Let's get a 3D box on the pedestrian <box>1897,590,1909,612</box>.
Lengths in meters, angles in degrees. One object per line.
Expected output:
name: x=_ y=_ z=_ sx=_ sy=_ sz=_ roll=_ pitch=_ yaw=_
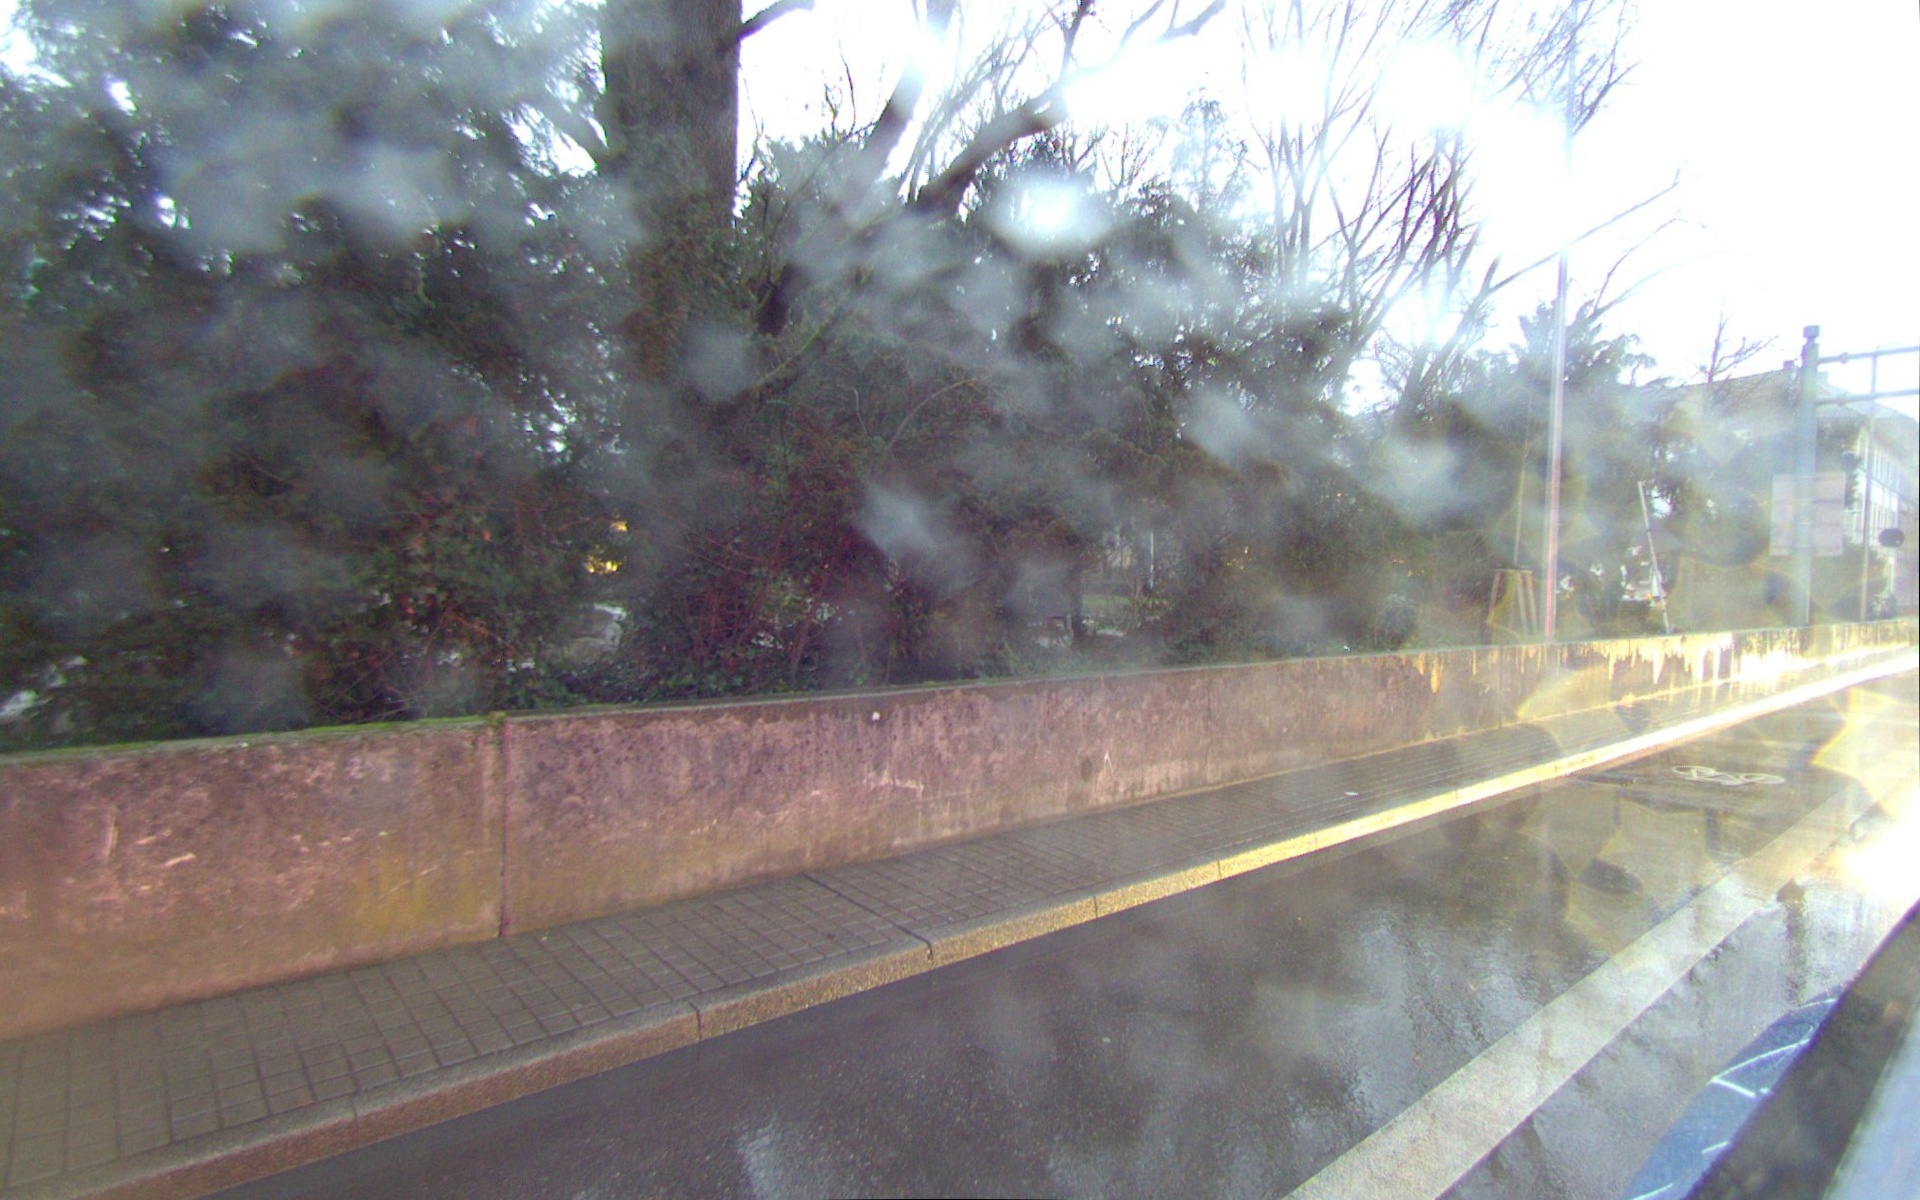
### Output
pedestrian: x=65.072 y=0.082 z=69.819 sx=0.577 sy=1.529 sz=0.520 roll=0 pitch=2 yaw=-41
